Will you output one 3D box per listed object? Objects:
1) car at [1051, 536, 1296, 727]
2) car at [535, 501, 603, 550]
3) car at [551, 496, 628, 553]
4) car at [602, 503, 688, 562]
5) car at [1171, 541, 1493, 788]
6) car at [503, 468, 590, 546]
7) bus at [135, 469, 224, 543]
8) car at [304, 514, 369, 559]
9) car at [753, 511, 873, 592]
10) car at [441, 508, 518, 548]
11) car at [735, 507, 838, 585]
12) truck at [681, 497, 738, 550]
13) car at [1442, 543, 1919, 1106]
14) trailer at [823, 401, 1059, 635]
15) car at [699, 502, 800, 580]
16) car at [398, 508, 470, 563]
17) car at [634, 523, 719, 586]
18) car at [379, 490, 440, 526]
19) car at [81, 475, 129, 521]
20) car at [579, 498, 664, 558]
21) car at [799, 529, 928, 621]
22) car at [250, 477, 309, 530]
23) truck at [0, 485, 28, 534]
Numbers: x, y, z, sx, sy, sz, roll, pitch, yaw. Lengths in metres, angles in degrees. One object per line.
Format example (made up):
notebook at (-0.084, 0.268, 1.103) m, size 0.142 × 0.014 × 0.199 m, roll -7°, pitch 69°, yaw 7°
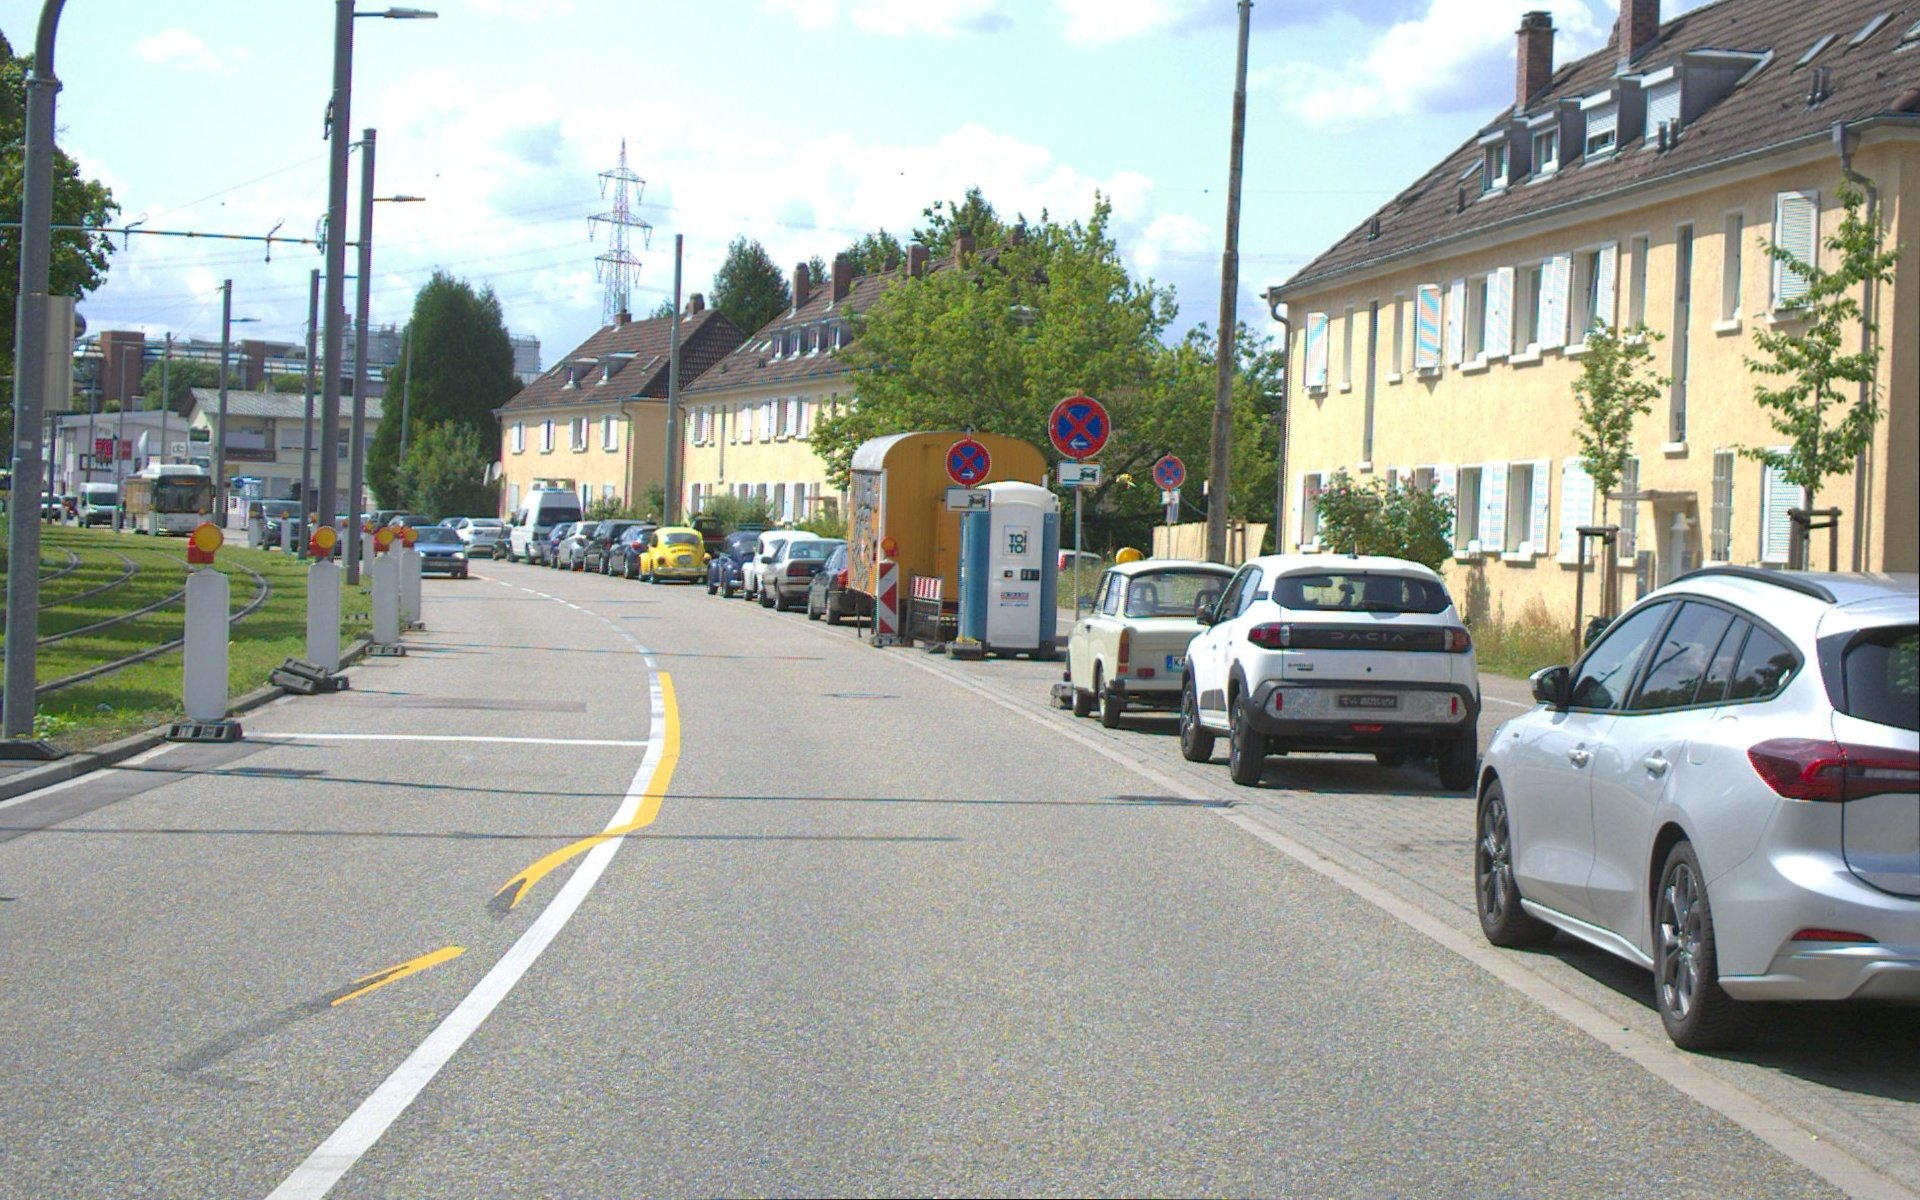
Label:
car at (1.788, 0.218, 29.982) m, size 1.463 × 1.497 × 4.110 m, roll 1°, pitch 1°, yaw -6°
car at (-12.378, -2.361, 108.614) m, size 1.535 × 1.440 × 3.738 m, roll 2°, pitch 1°, yaw -15°
car at (-11.227, -2.291, 104.024) m, size 1.635 × 1.597 × 4.031 m, roll 2°, pitch 1°, yaw -15°
car at (-8.696, -1.881, 94.625) m, size 1.635 × 1.477 × 4.126 m, roll 2°, pitch 1°, yaw -15°
car at (2.432, 0.371, 23.296) m, size 1.527 × 1.476 × 3.810 m, roll 1°, pitch 1°, yaw -3°
car at (-13.727, -3.096, 113.789) m, size 1.928 × 2.472 × 5.520 m, roll 1°, pitch 2°, yaw -16°
bus at (-37.851, -4.592, 166.421) m, size 2.635 × 3.400 × 12.253 m, roll 0°, pitch 2°, yaw -20°
car at (-20.961, -2.136, 115.502) m, size 1.724 × 1.384 × 4.123 m, roll 2°, pitch 1°, yaw -16°
car at (-2.929, -0.975, 67.455) m, size 1.706 × 1.444 × 4.837 m, roll 2°, pitch 1°, yaw -10°
car at (-17.670, -2.655, 126.213) m, size 1.798 × 1.453 × 4.767 m, roll 0°, pitch 1°, yaw -20°
car at (-3.689, -1.166, 72.494) m, size 1.577 × 1.507 × 4.461 m, roll 2°, pitch 1°, yaw -10°
truck at (-8.233, -2.527, 112.790) m, size 1.346 × 1.682 × 2.442 m, roll 2°, pitch 1°, yaw -16°
car at (2.926, 0.593, 11.571) m, size 1.749 × 1.492 × 4.386 m, roll 1°, pitch 1°, yaw -3°
trailer at (-0.365, -1.229, 51.353) m, size 2.689 × 3.215 × 5.083 m, roll 2°, pitch 1°, yaw -9°
car at (-4.773, -1.355, 77.521) m, size 1.548 × 1.635 × 4.248 m, roll 2°, pitch 1°, yaw -13°
car at (-14.313, -1.766, 93.404) m, size 1.665 × 1.444 × 3.961 m, roll -1°, pitch 2°, yaw -13°
car at (-7.418, -1.204, 89.705) m, size 1.636 × 1.477 × 3.933 m, roll -1°, pitch 3°, yaw -13°
car at (-22.377, -3.739, 139.652) m, size 1.763 × 1.412 × 4.002 m, roll 0°, pitch 2°, yaw -20°
car at (-47.754, -5.699, 191.958) m, size 2.102 × 2.435 × 5.573 m, roll 2°, pitch 1°, yaw -18°
car at (-9.885, -2.106, 100.148) m, size 1.635 × 1.597 × 3.933 m, roll 2°, pitch 1°, yaw -17°
car at (-1.716, -0.462, 59.867) m, size 1.577 × 1.444 × 4.455 m, roll 2°, pitch 1°, yaw -10°
car at (-26.520, -3.781, 133.874) m, size 1.955 × 1.959 × 5.295 m, roll 1°, pitch 2°, yaw -14°
truck at (-68.931, -6.550, 247.679) m, size 2.559 × 3.447 × 7.152 m, roll 0°, pitch 2°, yaw -22°
